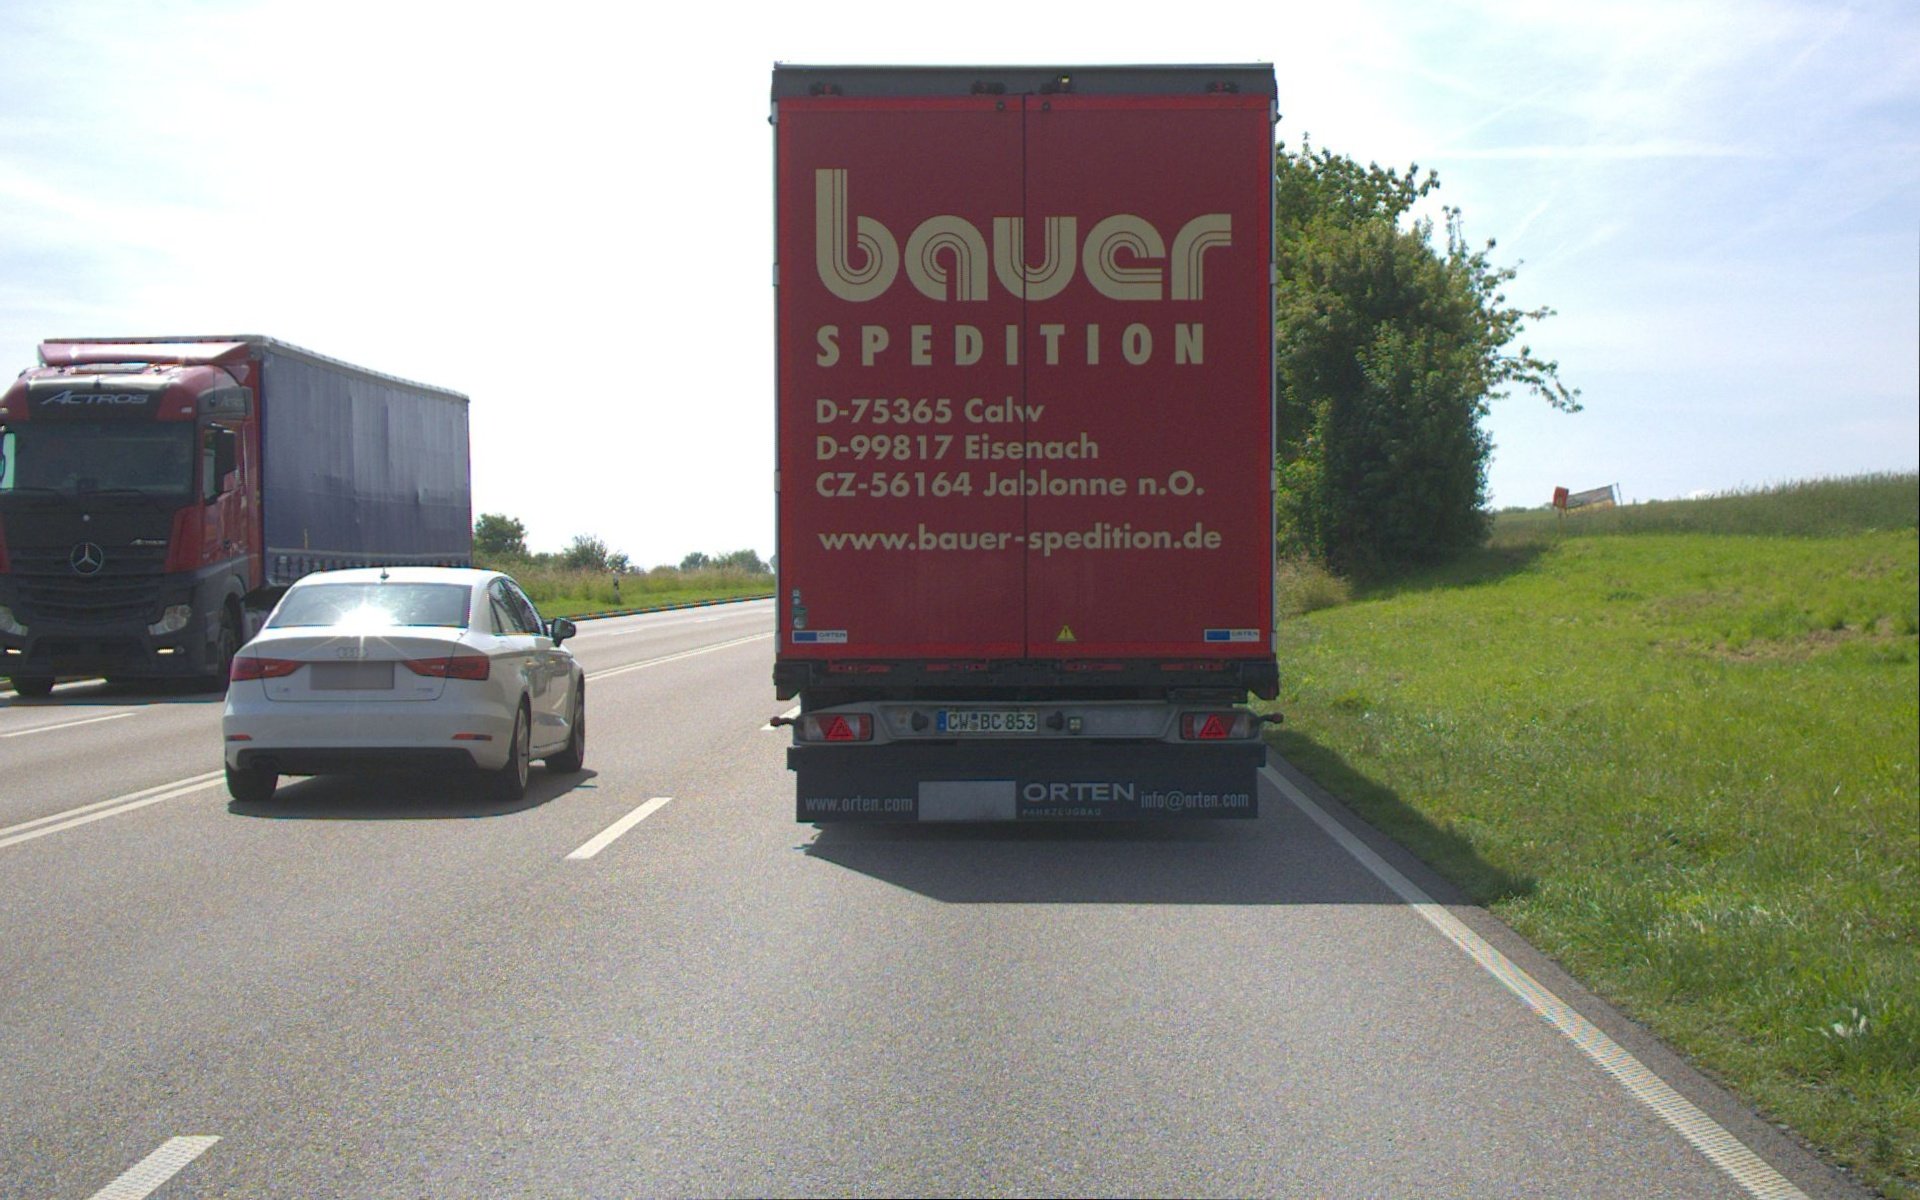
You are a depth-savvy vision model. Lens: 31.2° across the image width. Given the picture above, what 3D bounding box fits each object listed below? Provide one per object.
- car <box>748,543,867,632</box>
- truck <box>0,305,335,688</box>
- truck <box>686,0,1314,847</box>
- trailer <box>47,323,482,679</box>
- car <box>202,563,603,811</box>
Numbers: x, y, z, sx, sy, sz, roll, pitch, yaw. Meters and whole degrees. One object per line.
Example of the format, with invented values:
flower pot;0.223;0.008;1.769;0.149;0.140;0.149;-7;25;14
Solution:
car;-2.633;-0.251;60.223;1.821;1.467;4.789;1;1;0
truck;-9.317;-1.159;40.228;2.617;4.087;6.088;-1;1;2
truck;0.177;-0.996;25.225;3.007;4.166;16.715;1;1;0
trailer;-9.054;-1.266;46.877;2.545;4.087;13.583;-1;1;2
car;-3.405;0.471;21.814;1.703;1.371;4.603;0;1;1
